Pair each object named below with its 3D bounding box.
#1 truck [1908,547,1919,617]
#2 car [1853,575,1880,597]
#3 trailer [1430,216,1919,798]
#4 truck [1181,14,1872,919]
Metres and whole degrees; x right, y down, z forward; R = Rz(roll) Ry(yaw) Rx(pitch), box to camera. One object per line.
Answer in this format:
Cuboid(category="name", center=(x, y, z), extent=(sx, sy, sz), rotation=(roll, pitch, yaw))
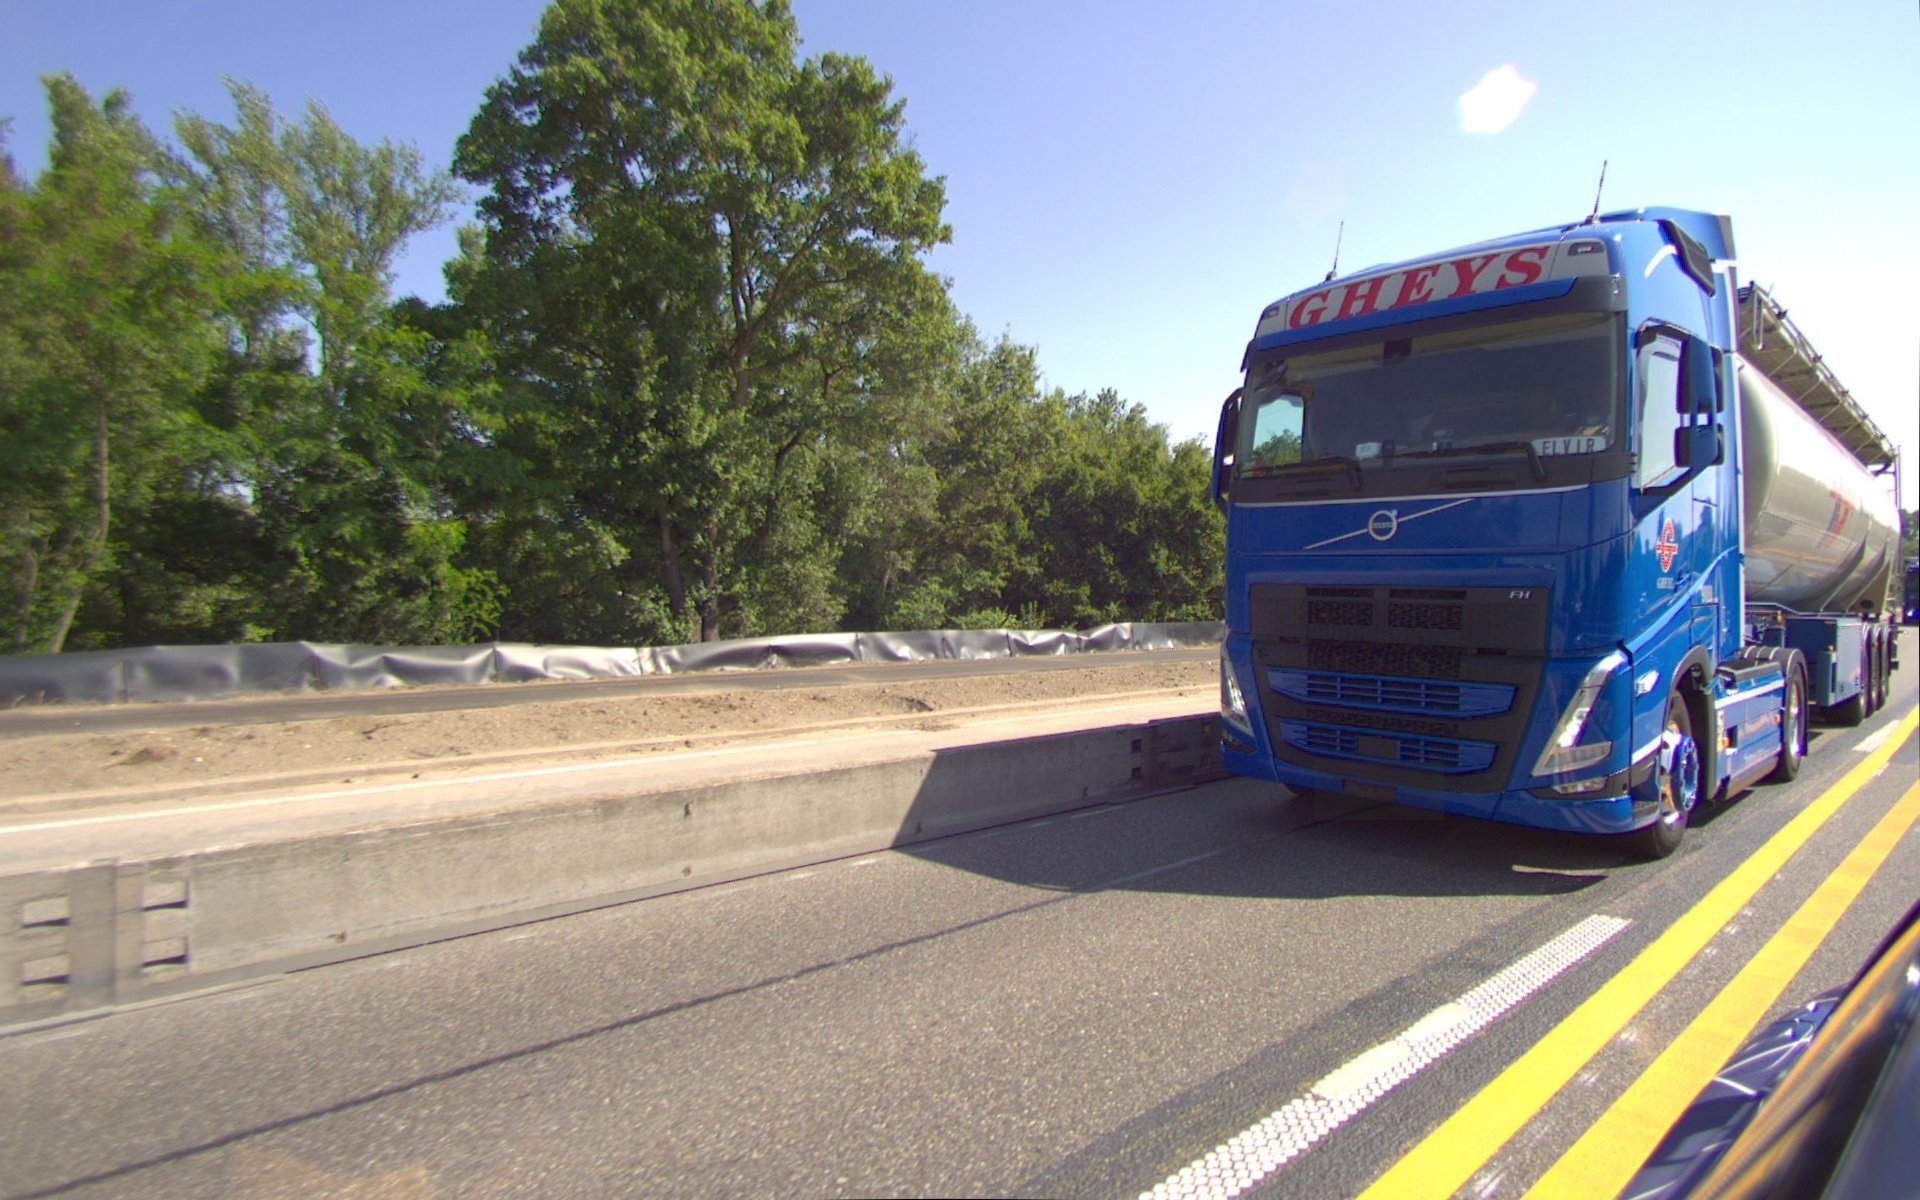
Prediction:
Cuboid(category="truck", center=(59.106, -0.976, 60.637), extent=(8.524, 4.033, 2.856), rotation=(0, 3, -45))
Cuboid(category="car", center=(112.238, -1.739, 125.353), extent=(2.102, 2.674, 5.900), rotation=(4, 3, 39))
Cuboid(category="trailer", center=(9.773, -0.690, 12.516), extent=(12.400, 4.189, 2.697), rotation=(0, 0, -43))
Cuboid(category="truck", center=(5.024, -0.648, 8.103), extent=(7.177, 4.153, 2.698), rotation=(0, 1, -43))
